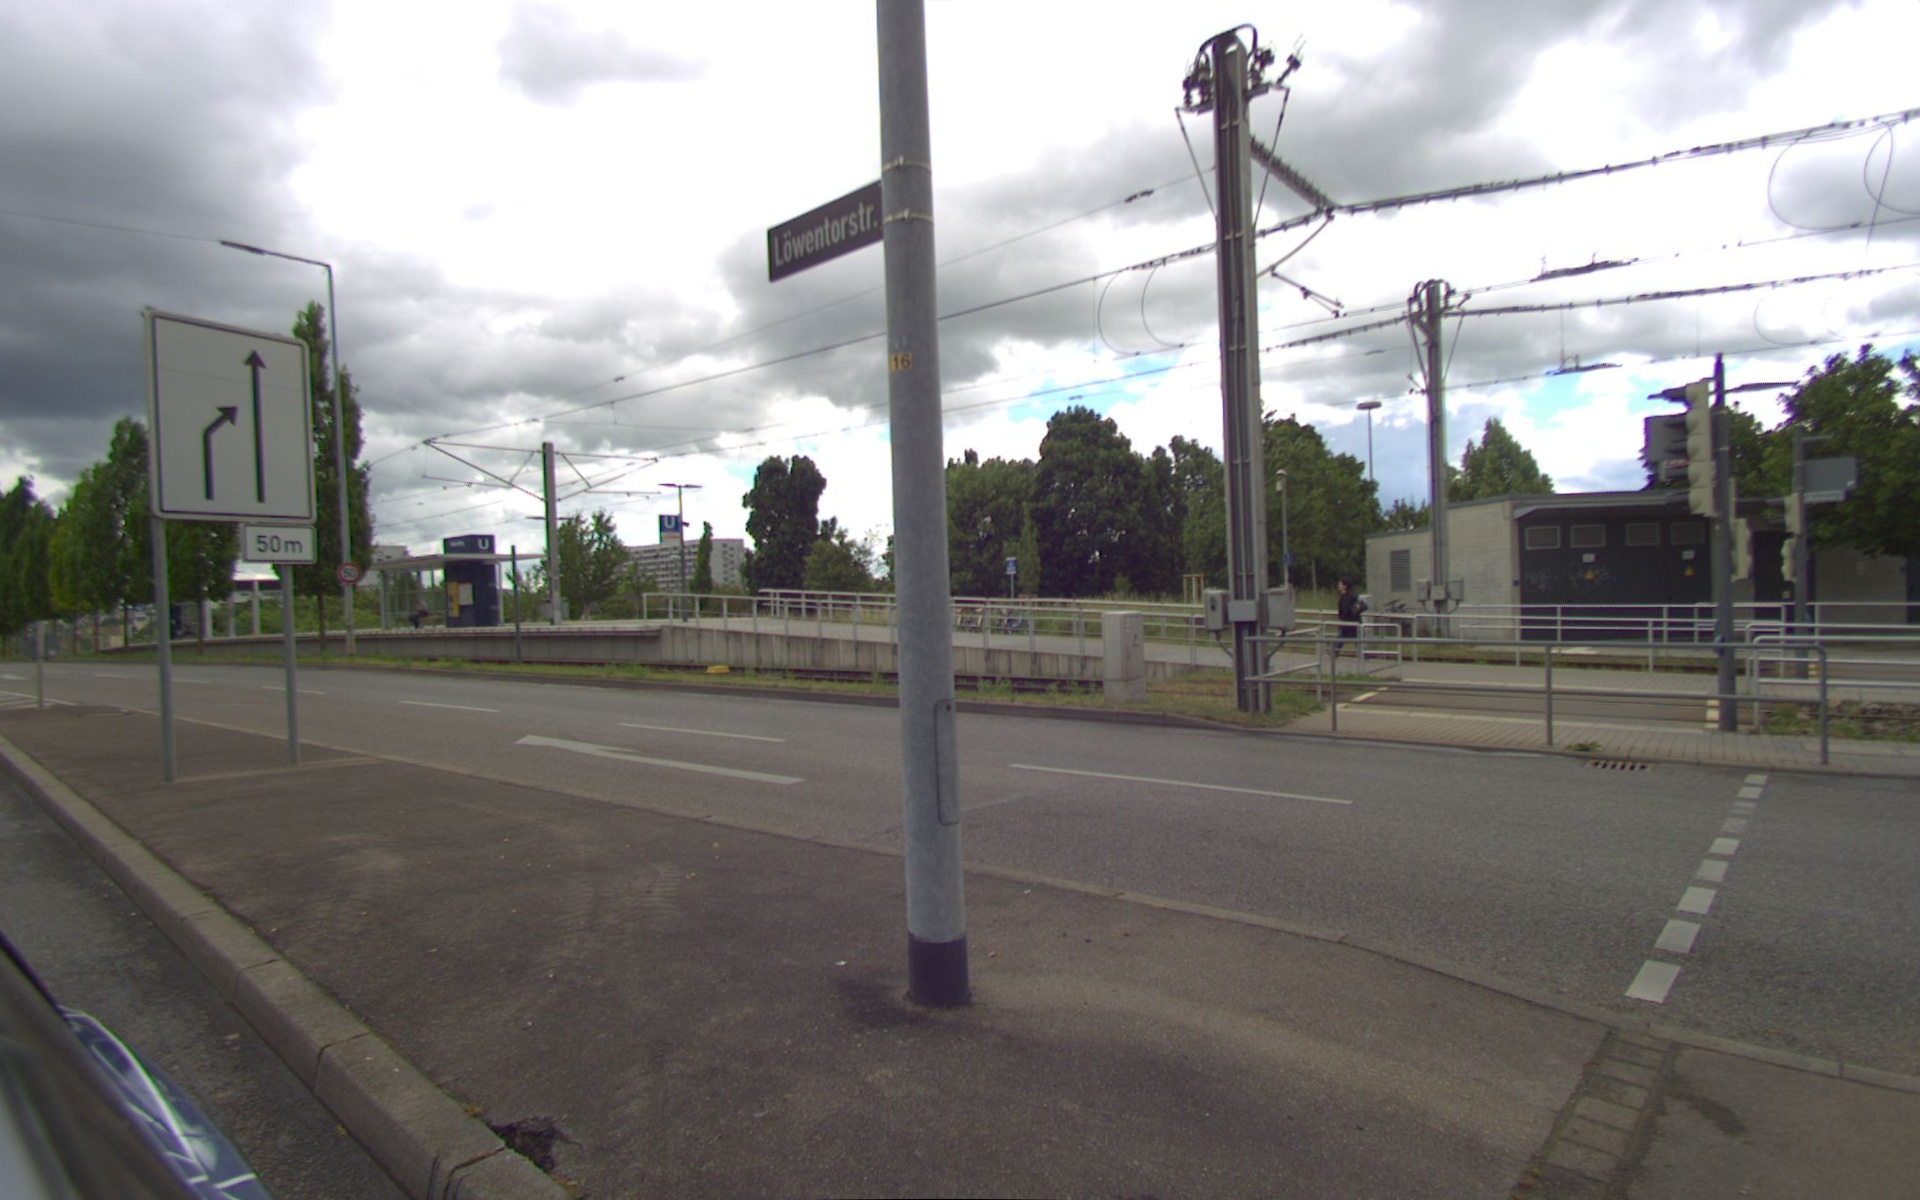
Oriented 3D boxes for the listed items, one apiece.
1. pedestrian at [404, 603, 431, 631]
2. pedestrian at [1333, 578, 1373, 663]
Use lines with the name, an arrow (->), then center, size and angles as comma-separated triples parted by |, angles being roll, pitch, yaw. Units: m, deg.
pedestrian -> -22.943, 0.706, 42.776 | 0.837, 1.184, 0.741 | 0, 0, 41
pedestrian -> 7.530, 0.377, 19.391 | 0.545, 1.584, 0.557 | 2, 2, 41
